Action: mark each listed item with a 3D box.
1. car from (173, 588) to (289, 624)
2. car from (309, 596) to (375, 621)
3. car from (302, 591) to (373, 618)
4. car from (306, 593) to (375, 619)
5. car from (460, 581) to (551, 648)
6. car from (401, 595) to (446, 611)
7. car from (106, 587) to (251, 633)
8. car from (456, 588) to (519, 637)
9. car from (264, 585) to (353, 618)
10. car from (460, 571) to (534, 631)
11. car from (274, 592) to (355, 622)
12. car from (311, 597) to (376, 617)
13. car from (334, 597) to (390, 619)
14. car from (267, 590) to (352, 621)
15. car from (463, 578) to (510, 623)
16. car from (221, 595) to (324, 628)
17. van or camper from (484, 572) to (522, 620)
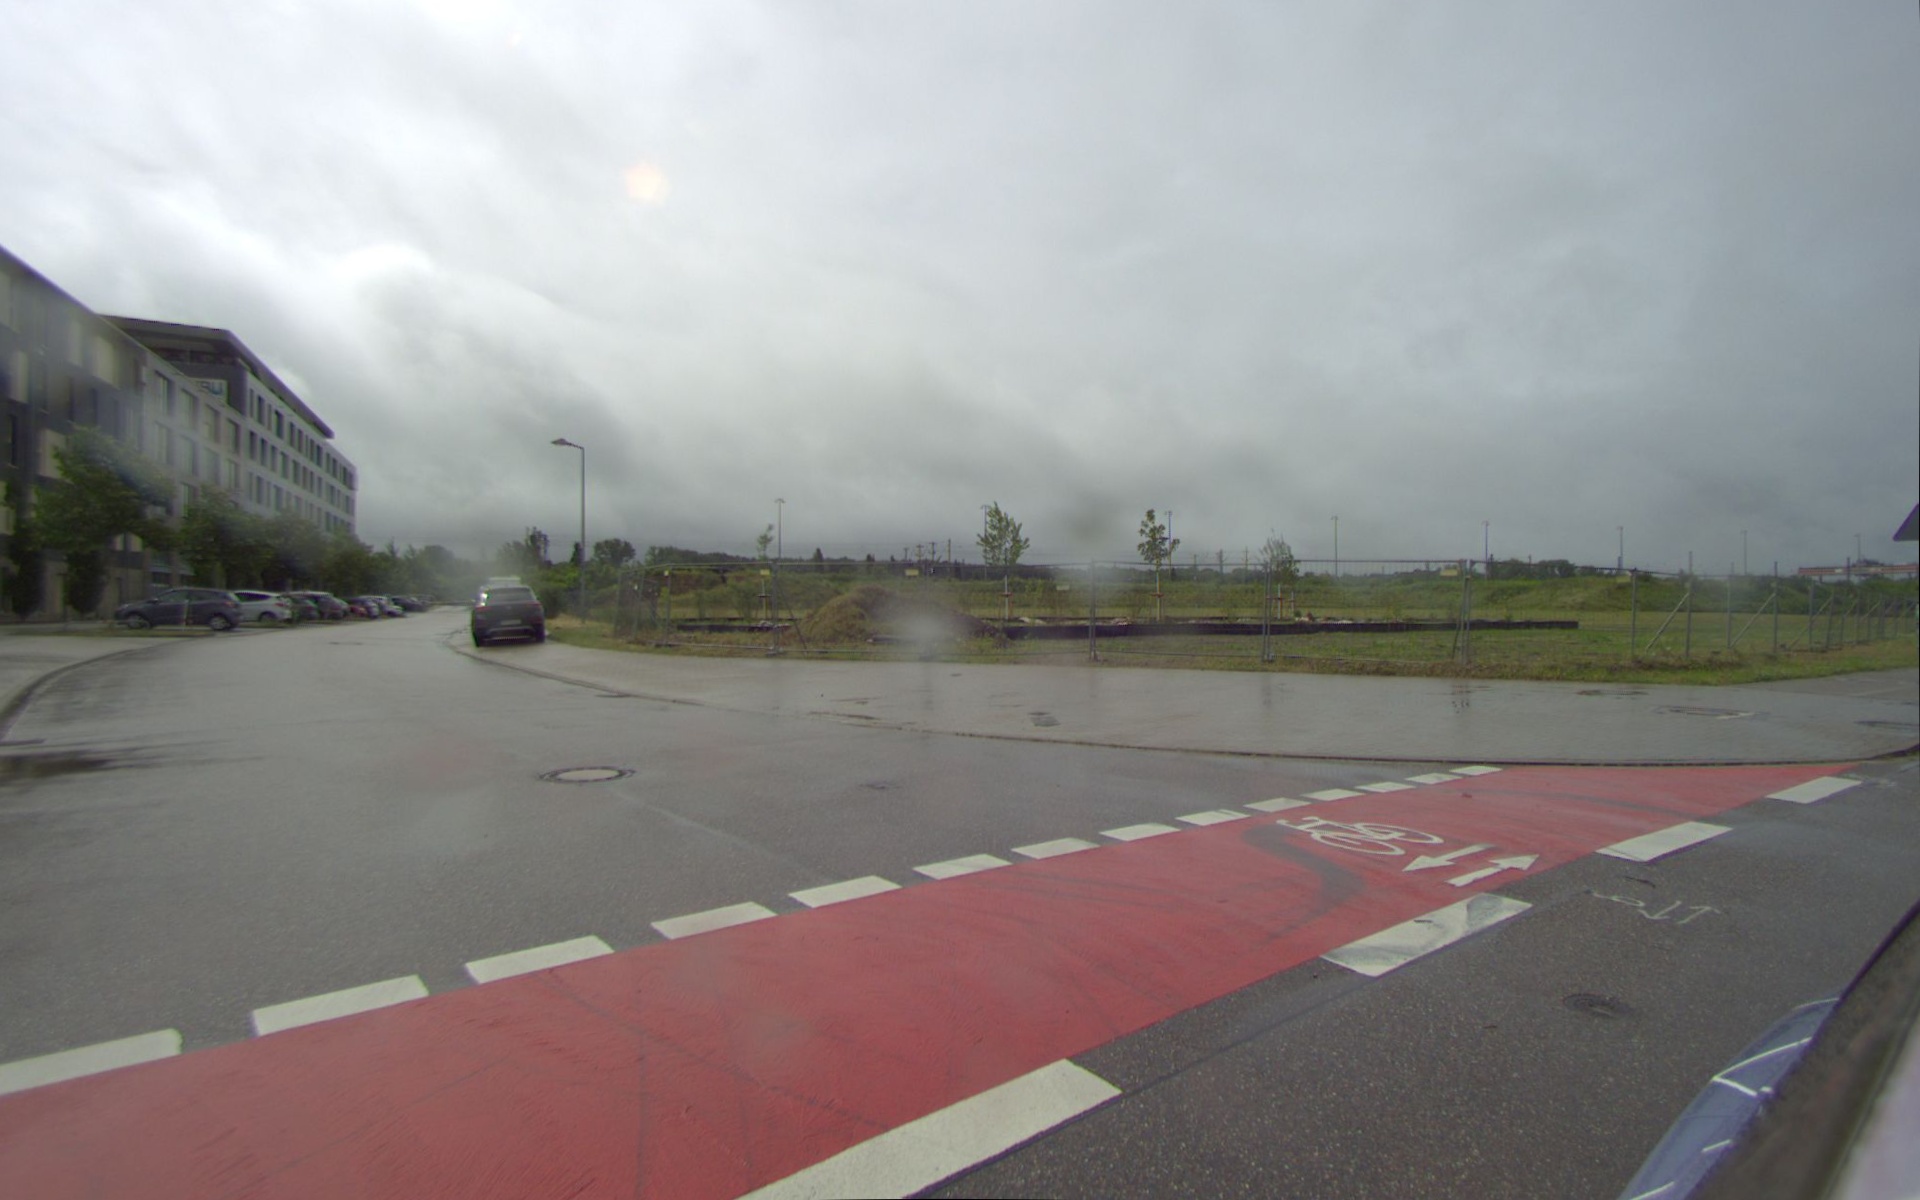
[{"bbox_3d":[-30.742,0.263,42.808,3.729,1.414,1.770,0,-3,-26],"label":"car"},{"bbox_3d":[-42.988,0.610,70.501,3.763,1.637,1.550,0,-4,-26],"label":"car"},{"bbox_3d":[-40.150,0.287,65.366,3.763,1.637,1.550,0,-4,-26],"label":"car"},{"bbox_3d":[-41.292,0.424,67.574,3.763,1.637,1.550,0,-4,-26],"label":"car"},{"bbox_3d":[-12.640,0.348,28.002,1.960,1.638,4.005,-3,1,-28],"label":"car"},{"bbox_3d":[-59.681,0.318,112.722,4.278,1.710,1.802,0,-3,-22],"label":"car"},{"bbox_3d":[-27.711,0.376,36.049,3.763,1.548,1.787,0,-4,-26],"label":"car"},{"bbox_3d":[-18.250,0.519,38.996,1.959,1.663,4.003,1,-3,-28],"label":"car"},{"bbox_3d":[-34.607,0.121,53.908,3.763,1.637,1.787,0,-4,-26],"label":"car"},{"bbox_3d":[-15.470,0.096,33.717,1.959,1.751,4.003,1,-4,-28],"label":"car"},{"bbox_3d":[-37.401,0.400,58.723,3.763,1.637,1.787,0,-4,-26],"label":"car"},{"bbox_3d":[-44.180,0.504,72.557,3.823,1.313,1.553,0,-3,-26],"label":"car"},{"bbox_3d":[-48.266,0.673,81.754,3.763,1.637,1.787,0,-4,-26],"label":"car"},{"bbox_3d":[-36.414,0.304,56.741,3.763,1.637,1.787,0,-4,-26],"label":"car"},{"bbox_3d":[-23.025,0.060,49.320,1.958,1.796,4.342,0,-5,-24],"label":"car"},{"bbox_3d":[-32.230,0.558,47.586,3.763,1.414,1.787,0,-3,-26],"label":"car"},{"bbox_3d":[-34.929,-0.251,77.380,2.477,3.244,6.808,0,-3,-24],"label":"van or camper"}]
